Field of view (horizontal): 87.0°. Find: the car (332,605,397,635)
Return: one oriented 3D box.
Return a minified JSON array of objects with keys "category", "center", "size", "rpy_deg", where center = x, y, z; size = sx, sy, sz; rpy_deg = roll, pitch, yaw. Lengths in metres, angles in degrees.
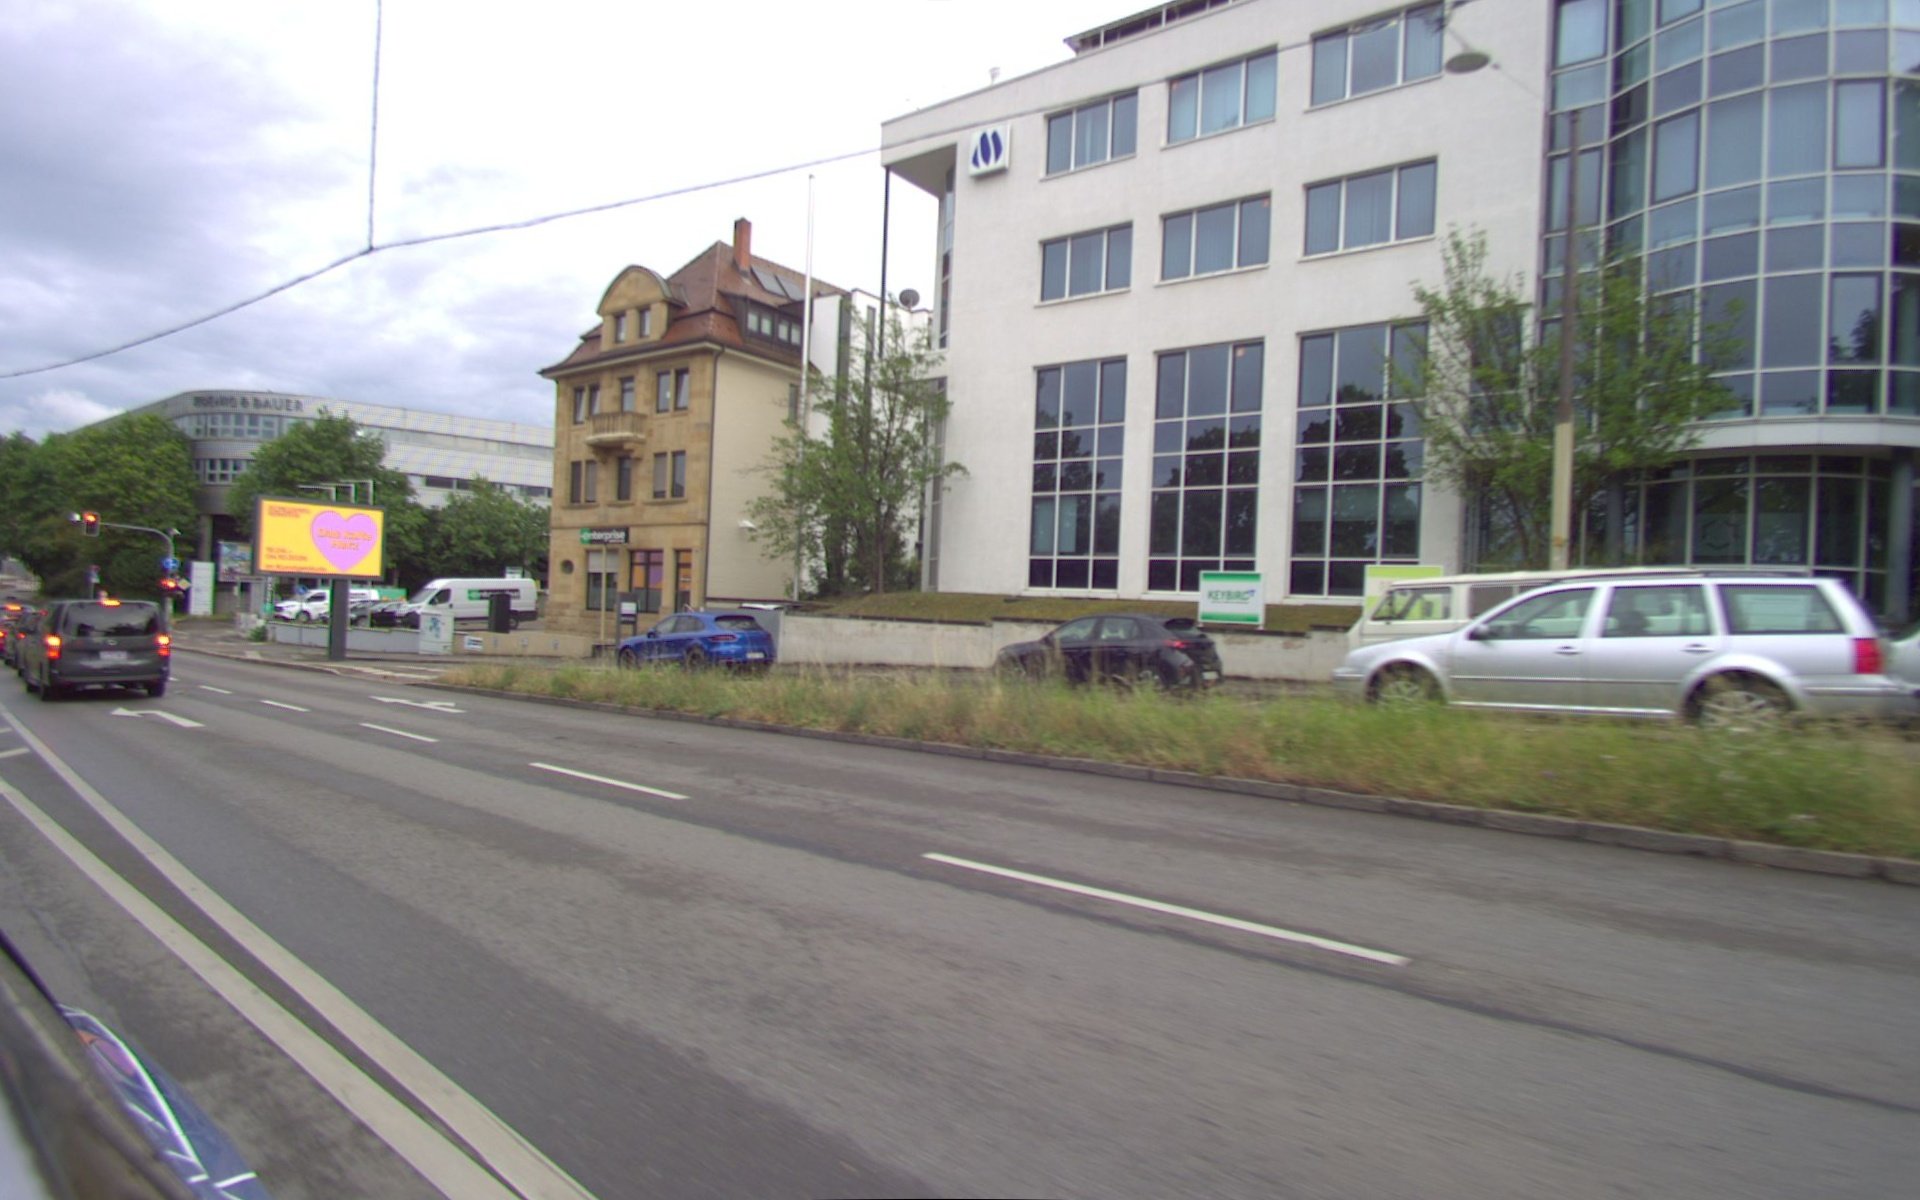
[{"category":"car","center":[-30.791,1.036,52.391],"size":[1.227,1.435,2.650],"rpy_deg":[1,2,41]}]

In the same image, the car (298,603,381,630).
[{"category":"car","center":[-34.737,0.889,56.715],"size":[1.872,1.379,3.573],"rpy_deg":[1,2,41]}]

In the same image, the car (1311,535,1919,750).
[{"category":"car","center":[5.625,0.383,8.990],"size":[4.440,1.489,1.630],"rpy_deg":[-2,-4,41]}]

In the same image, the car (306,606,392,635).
[{"category":"car","center":[-32.638,1.086,54.096],"size":[1.741,1.379,3.573],"rpy_deg":[1,2,41]}]

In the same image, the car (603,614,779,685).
[{"category":"car","center":[-6.491,1.179,24.155],"size":[4.667,1.546,1.671],"rpy_deg":[-2,-3,39]}]

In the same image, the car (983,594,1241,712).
[{"category":"car","center":[2.426,0.860,16.770],"size":[3.989,1.735,1.594],"rpy_deg":[-2,-3,39]}]

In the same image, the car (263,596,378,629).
[{"category":"car","center":[-37.799,0.776,59.984],"size":[2.214,1.815,5.310],"rpy_deg":[2,-1,34]}]

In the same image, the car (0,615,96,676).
[{"category":"car","center":[-27.815,1.343,30.666],"size":[4.625,1.710,1.933],"rpy_deg":[-1,-2,43]}]

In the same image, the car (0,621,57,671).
[{"category":"car","center":[-33.679,1.589,36.015],"size":[4.440,1.542,1.787],"rpy_deg":[2,-1,42]}]

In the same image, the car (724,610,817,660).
[{"category":"car","center":[-7.012,1.288,37.606],"size":[1.713,1.688,3.014],"rpy_deg":[2,-1,37]}]

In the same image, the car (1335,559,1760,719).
[{"category":"car","center":[7.540,0.525,13.277],"size":[4.579,1.759,1.753],"rpy_deg":[-2,-3,39]}]

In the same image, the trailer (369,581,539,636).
[{"category":"trailer","center":[-24.512,0.455,49.352],"size":[2.394,2.446,7.024],"rpy_deg":[2,-1,40]}]

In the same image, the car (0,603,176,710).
[{"category":"car","center":[-17.519,1.055,20.244],"size":[5.040,1.881,1.993],"rpy_deg":[-1,-3,42]}]

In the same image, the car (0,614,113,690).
[{"category":"car","center":[-22.917,1.250,25.528],"size":[4.727,1.616,1.670],"rpy_deg":[2,-1,42]}]

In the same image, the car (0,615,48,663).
[{"category":"car","center":[-38.341,1.516,40.714],"size":[5.169,1.832,1.913],"rpy_deg":[-1,-2,43]}]
